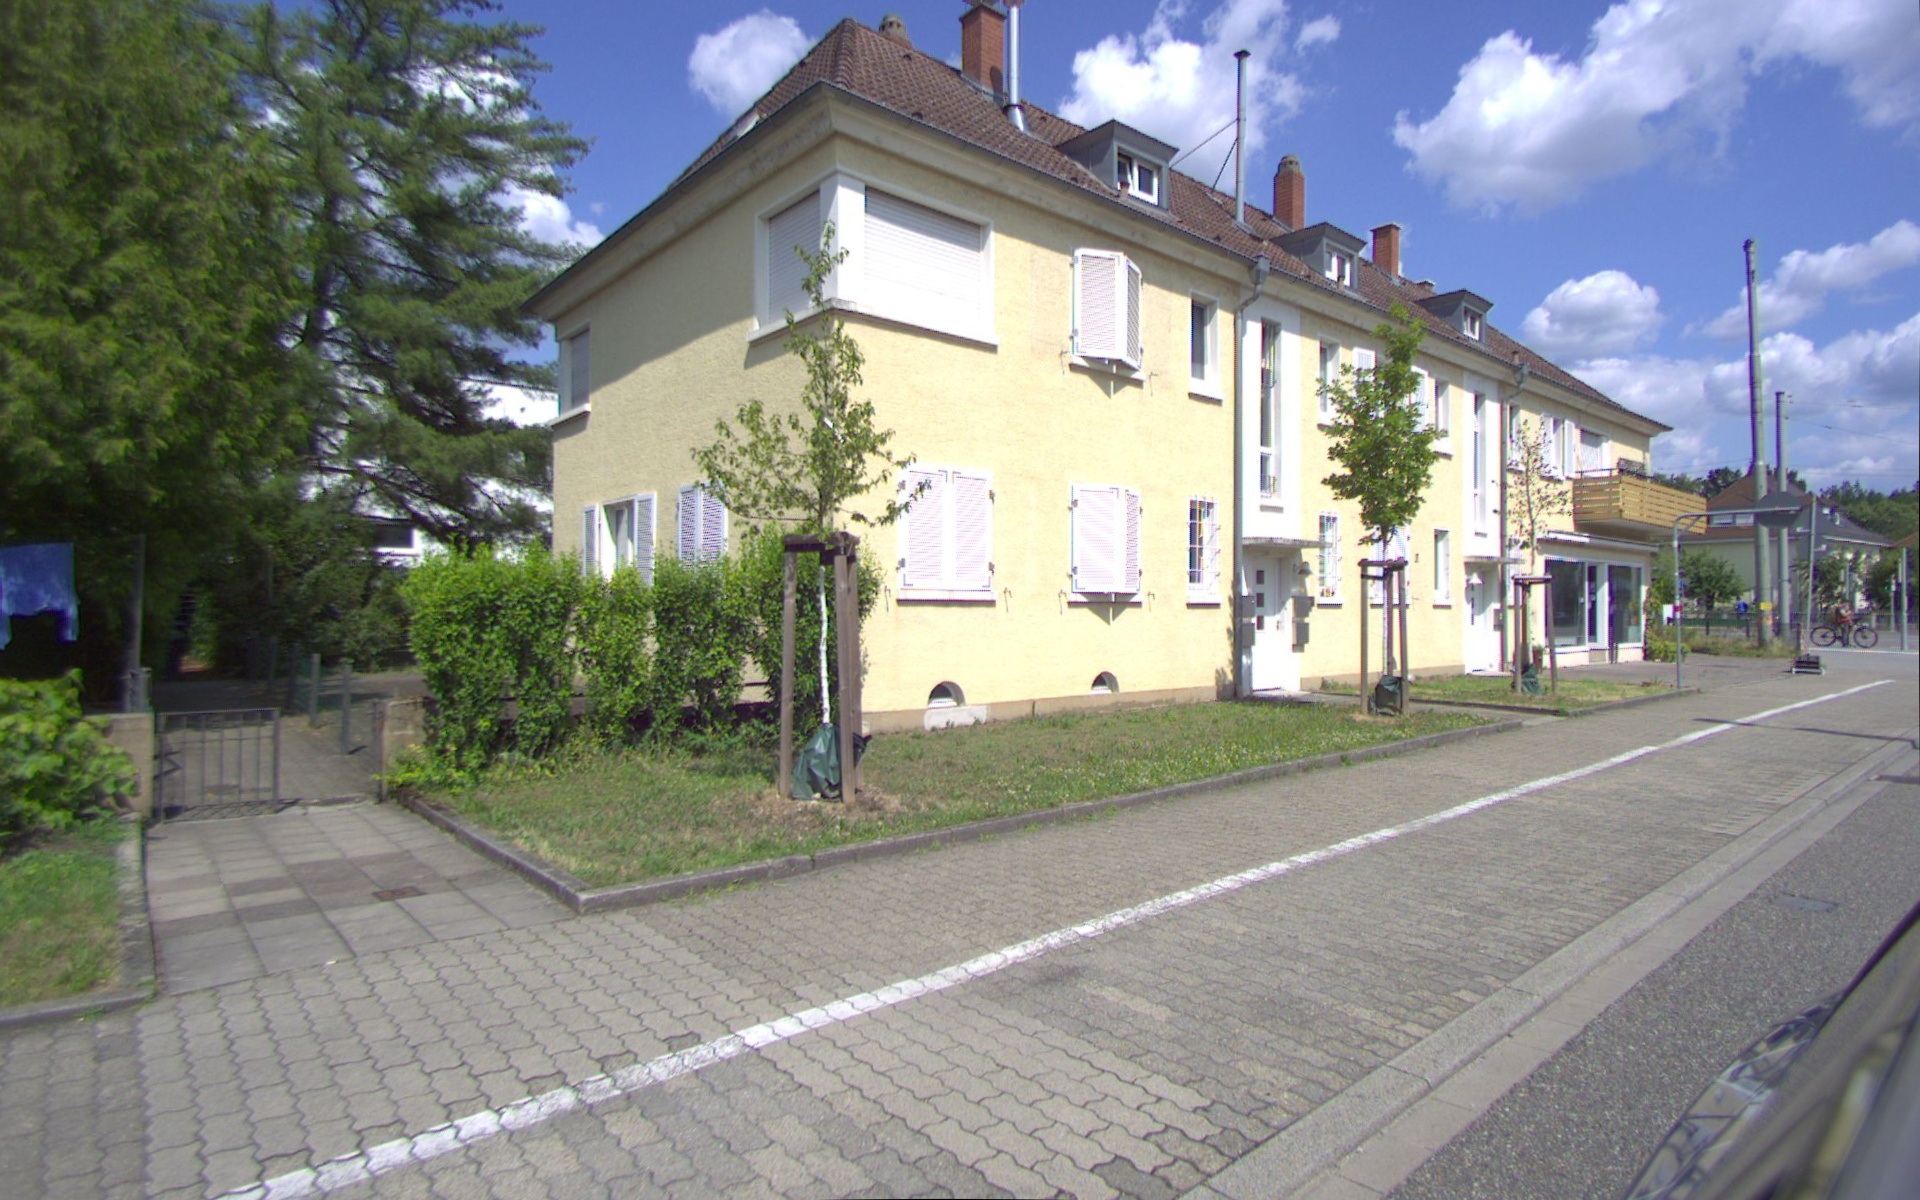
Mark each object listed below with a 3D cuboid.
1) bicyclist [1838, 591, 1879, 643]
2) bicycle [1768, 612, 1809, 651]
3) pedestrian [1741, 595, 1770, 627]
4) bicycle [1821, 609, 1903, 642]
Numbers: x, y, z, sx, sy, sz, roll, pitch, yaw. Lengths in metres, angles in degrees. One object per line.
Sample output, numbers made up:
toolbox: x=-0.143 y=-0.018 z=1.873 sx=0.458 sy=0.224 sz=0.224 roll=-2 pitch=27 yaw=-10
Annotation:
bicyclist: x=31.733 y=0.599 z=35.763 sx=0.952 sy=1.797 sz=0.712 roll=0 pitch=-1 yaw=31
bicycle: x=24.950 y=0.920 z=30.499 sx=0.590 sy=1.110 sz=2.252 roll=0 pitch=0 yaw=30
pedestrian: x=44.006 y=0.610 z=55.968 sx=1.022 sy=1.757 sz=1.032 roll=1 pitch=-1 yaw=-37
bicycle: x=31.806 y=0.883 z=35.722 sx=2.016 sy=1.116 sz=0.708 roll=0 pitch=0 yaw=30
